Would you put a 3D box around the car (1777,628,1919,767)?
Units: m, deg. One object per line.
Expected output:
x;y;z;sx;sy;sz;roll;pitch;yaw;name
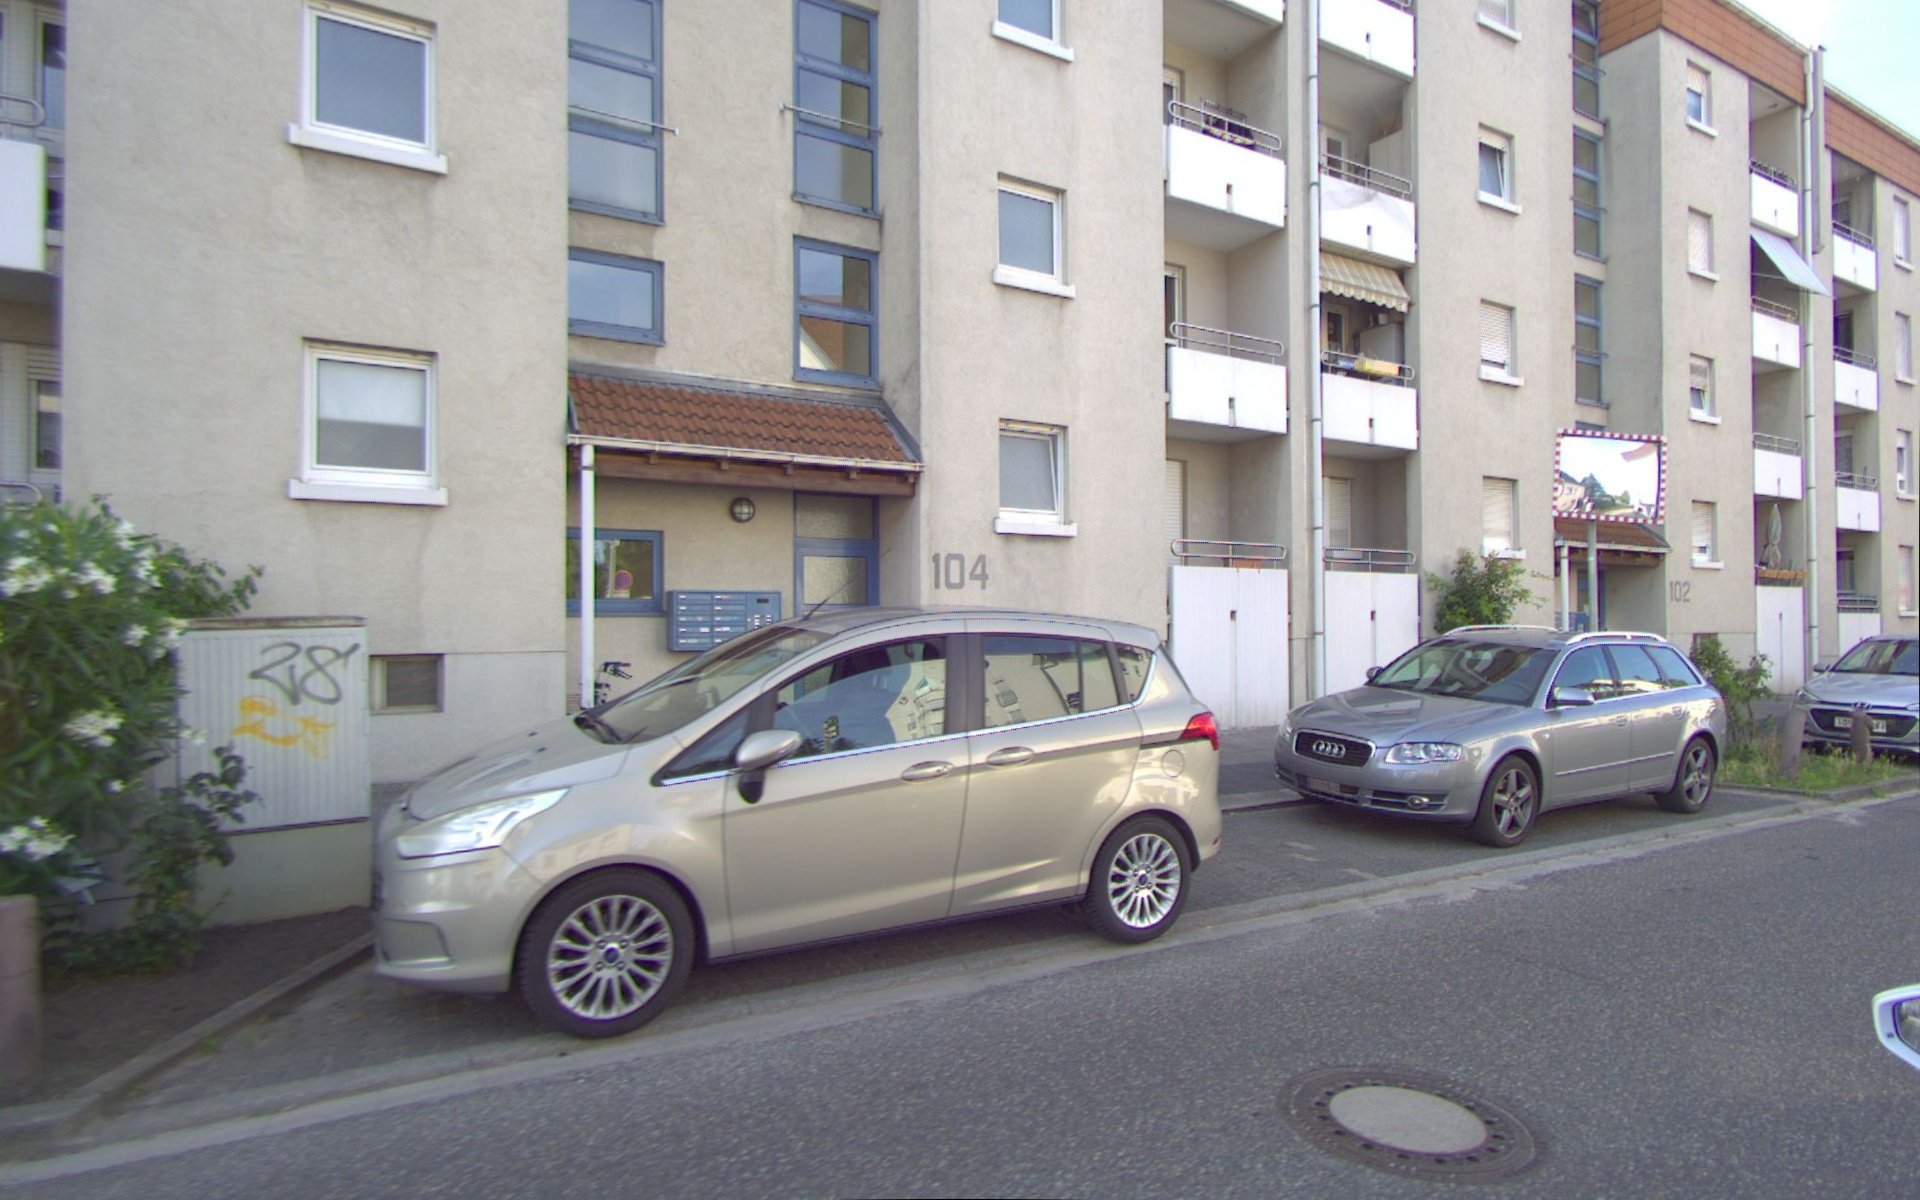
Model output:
11.965;1.107;12.370;4.093;1.474;1.677;1;-1;-31;car

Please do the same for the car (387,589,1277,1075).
-0.515;0.778;4.947;3.916;1.576;1.720;1;0;-28;car

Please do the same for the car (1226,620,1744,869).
4.384;0.949;8.212;4.321;1.541;1.798;1;-1;-31;car

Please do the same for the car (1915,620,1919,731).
16.285;1.128;15.098;4.319;1.624;1.678;1;-1;-30;car
